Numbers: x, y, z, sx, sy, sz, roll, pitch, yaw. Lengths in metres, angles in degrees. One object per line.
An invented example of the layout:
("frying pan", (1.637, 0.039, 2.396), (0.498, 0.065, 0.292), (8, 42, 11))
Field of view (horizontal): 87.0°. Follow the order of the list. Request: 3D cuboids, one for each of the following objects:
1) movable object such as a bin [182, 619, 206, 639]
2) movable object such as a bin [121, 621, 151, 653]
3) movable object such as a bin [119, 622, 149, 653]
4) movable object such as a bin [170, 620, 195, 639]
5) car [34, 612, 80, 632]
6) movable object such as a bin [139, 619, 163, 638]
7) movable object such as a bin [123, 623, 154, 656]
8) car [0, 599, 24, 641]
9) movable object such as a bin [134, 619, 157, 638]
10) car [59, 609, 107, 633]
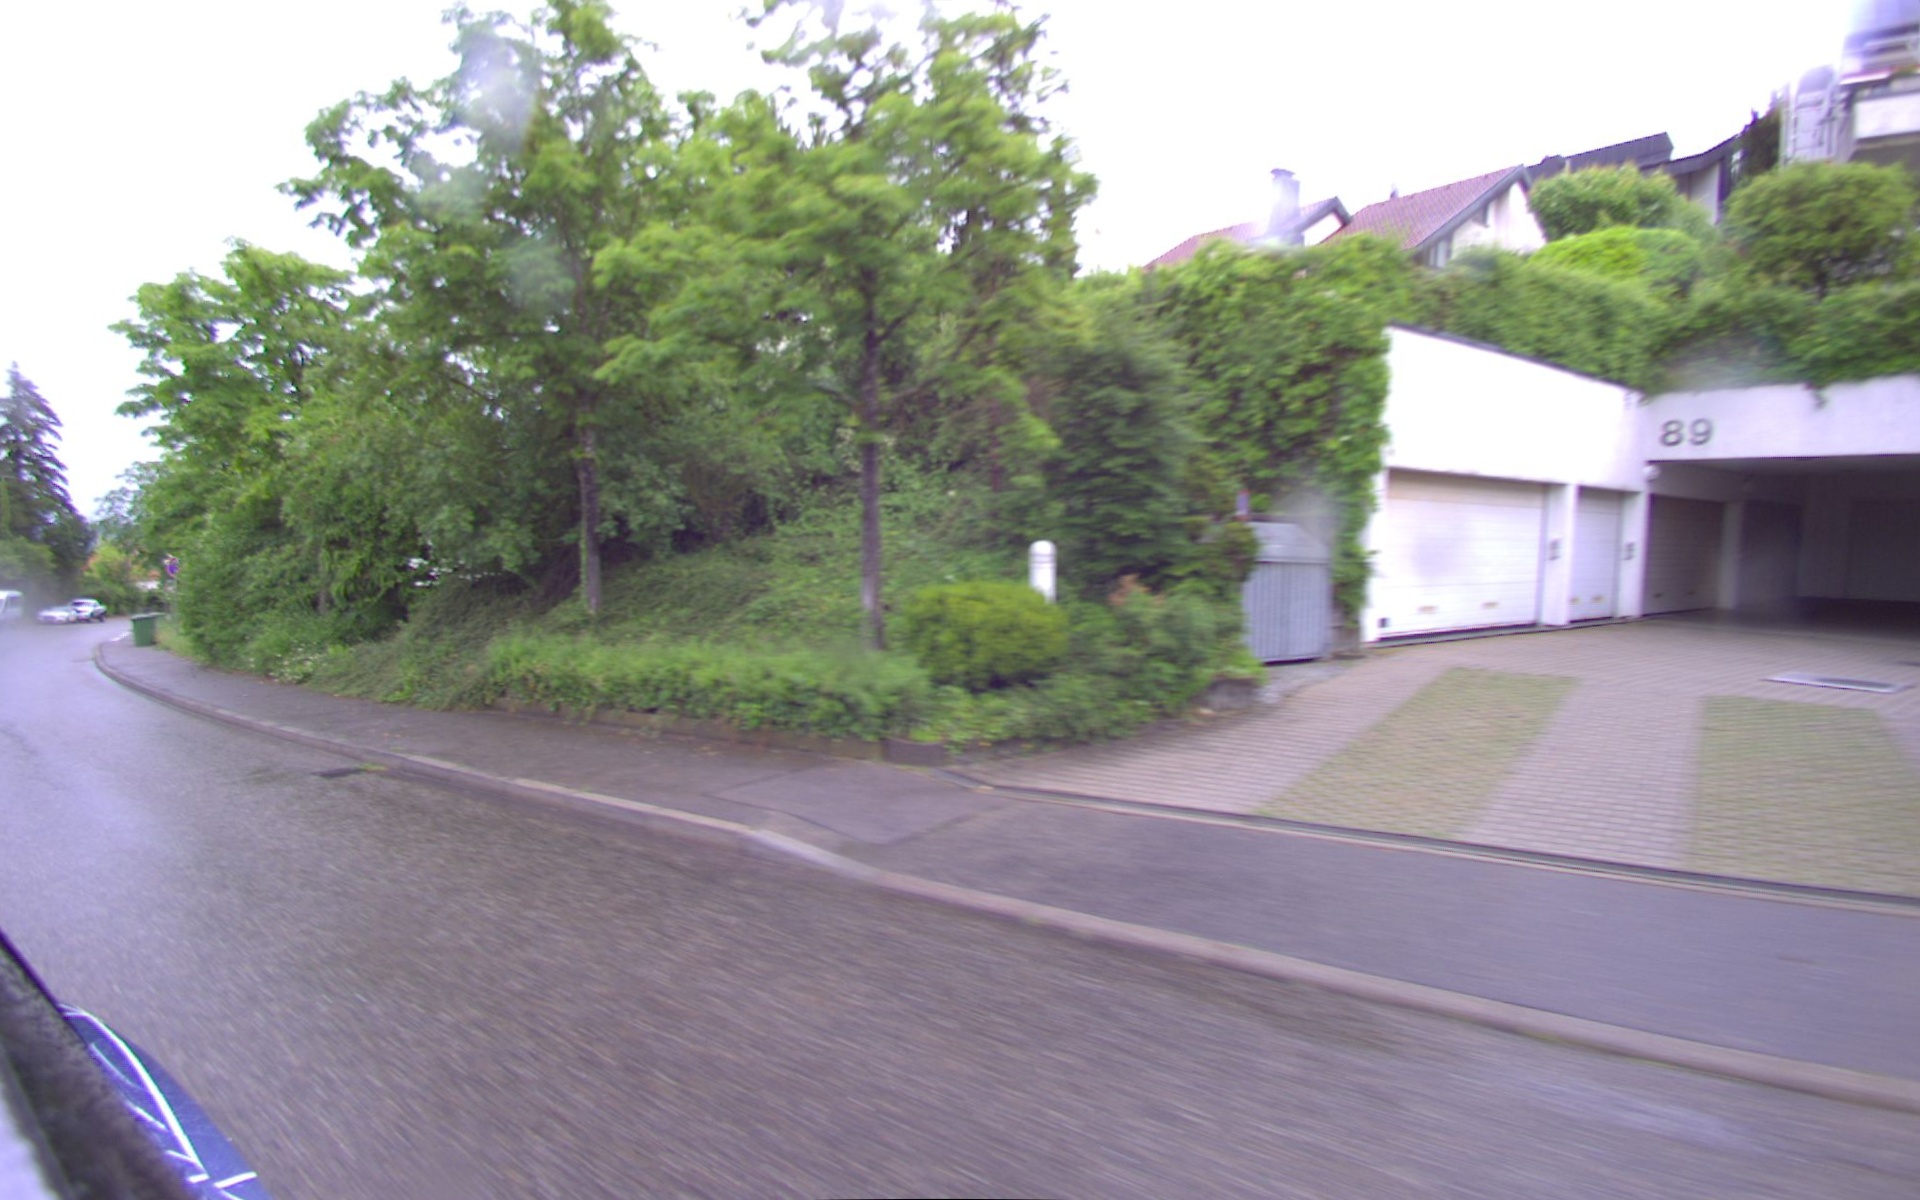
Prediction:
("movable object such as a bin", (-42.624, 1.608, 56.326), (0.711, 1.035, 0.779), (-2, 2, 6))
("movable object such as a bin", (-29.365, 1.322, 36.052), (0.738, 1.105, 0.760), (-1, -1, 44))
("movable object such as a bin", (-29.881, 1.350, 36.606), (0.738, 1.105, 0.760), (-1, -1, 44))
("movable object such as a bin", (-43.344, 1.639, 56.417), (0.711, 1.035, 0.779), (-2, 2, 6))
("car", (-68.865, 1.660, 77.201), (1.725, 1.434, 4.013), (0, 0, -29))
("movable object such as a bin", (-45.468, 1.604, 56.871), (0.716, 1.035, 0.773), (-1, 2, 29))
("movable object such as a bin", (-28.392, 1.356, 34.962), (0.691, 1.076, 0.760), (-1, -1, 44))
("car", (-60.604, 1.218, 63.191), (2.044, 2.569, 6.199), (0, 0, -32))
("movable object such as a bin", (-46.087, 1.604, 57.279), (0.716, 1.035, 0.772), (-1, 2, 29))
("car", (-71.466, 1.661, 82.502), (1.839, 1.832, 4.877), (0, 0, -27))
